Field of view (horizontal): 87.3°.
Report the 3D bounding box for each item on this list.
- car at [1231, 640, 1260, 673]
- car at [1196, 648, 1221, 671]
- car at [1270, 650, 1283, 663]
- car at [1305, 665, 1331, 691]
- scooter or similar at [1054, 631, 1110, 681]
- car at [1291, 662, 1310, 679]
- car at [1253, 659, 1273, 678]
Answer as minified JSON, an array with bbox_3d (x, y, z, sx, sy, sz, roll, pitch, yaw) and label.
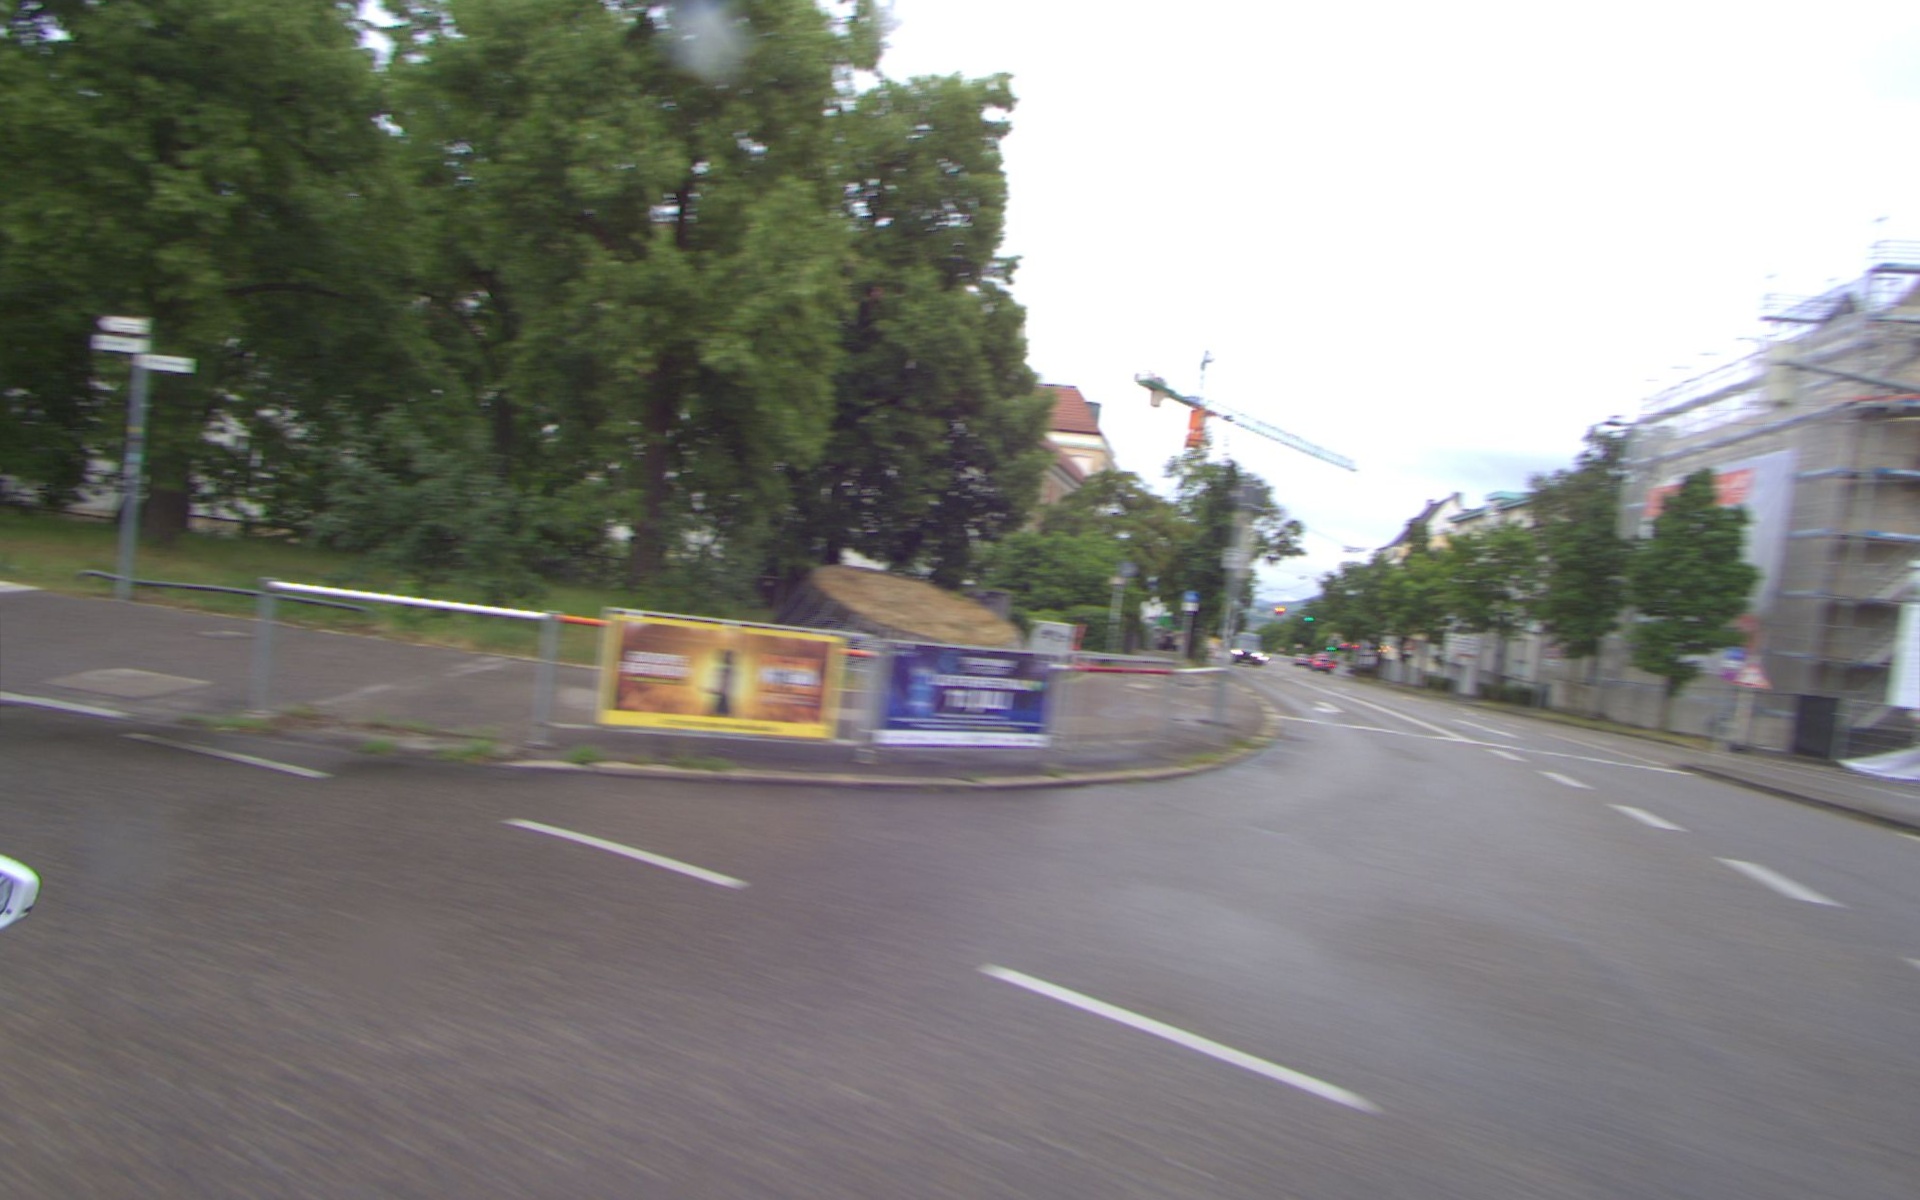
[{"bbox_3d":[22.304,4.363,78.542,1.806,2.239,4.000,8,1,18],"label":"car"},{"bbox_3d":[25.384,6.031,102.559,1.962,2.039,4.000,8,1,18],"label":"car"},{"bbox_3d":[62.889,11.210,199.749,1.962,2.038,4.001,8,0,15],"label":"car"},{"bbox_3d":[34.802,7.556,97.960,1.962,2.039,4.000,8,1,18],"label":"car"},{"bbox_3d":[2.753,1.272,22.679,1.082,0.965,0.533,9,0,-39],"label":"scooter or similar"},{"bbox_3d":[38.356,7.905,113.233,1.748,1.457,3.871,8,1,18],"label":"car"},{"bbox_3d":[28.075,6.313,93.274,1.551,1.479,3.537,8,1,18],"label":"car"}]
